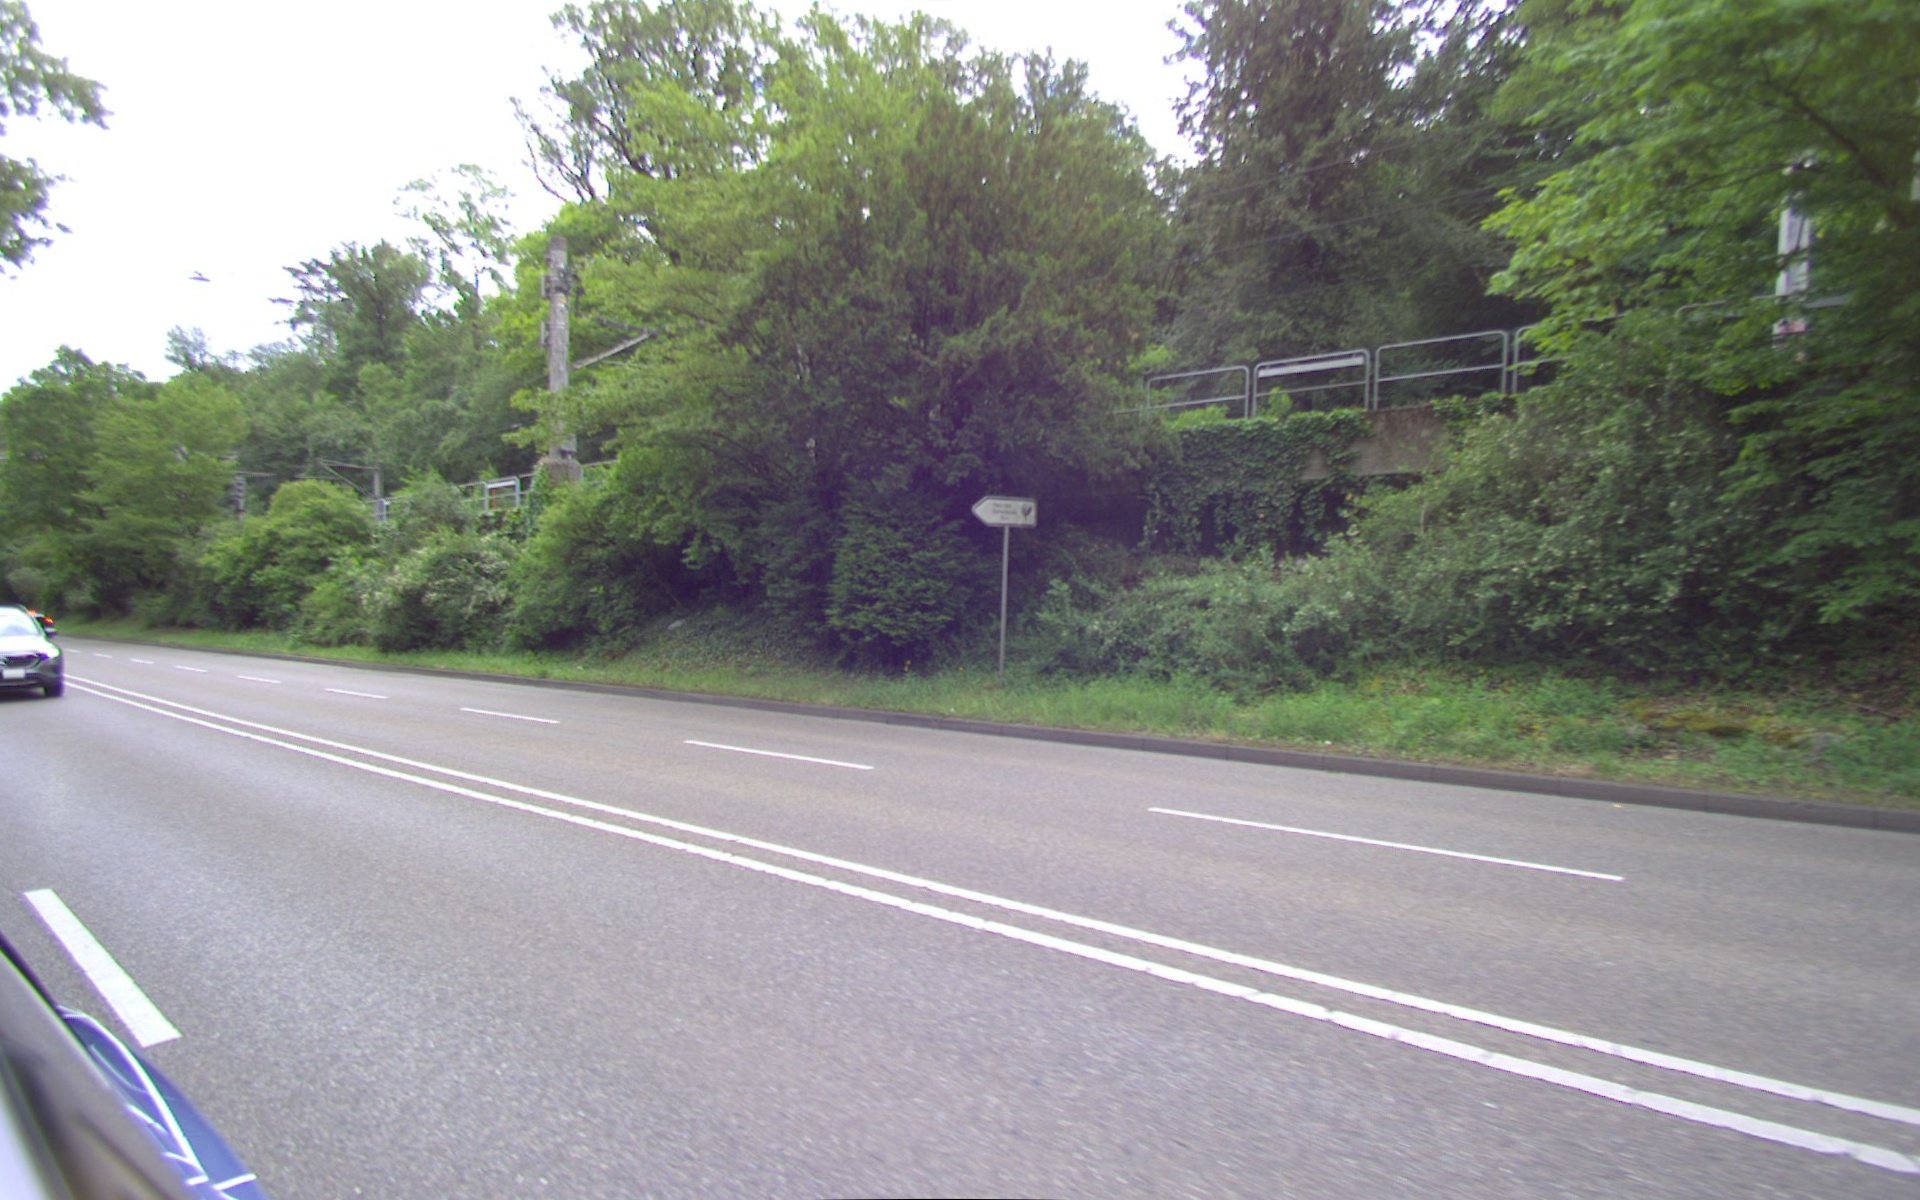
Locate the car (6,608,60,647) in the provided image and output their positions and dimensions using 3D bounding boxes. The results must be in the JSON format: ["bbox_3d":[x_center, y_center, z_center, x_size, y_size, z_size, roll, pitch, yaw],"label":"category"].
[{"bbox_3d":[-51.875,1.497,56.605,4.069,1.607,1.718,9,6,41],"label":"car"}]

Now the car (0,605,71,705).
[{"bbox_3d":[-17.980,0.965,18.607,4.190,1.675,1.847,-1,1,41],"label":"car"}]
